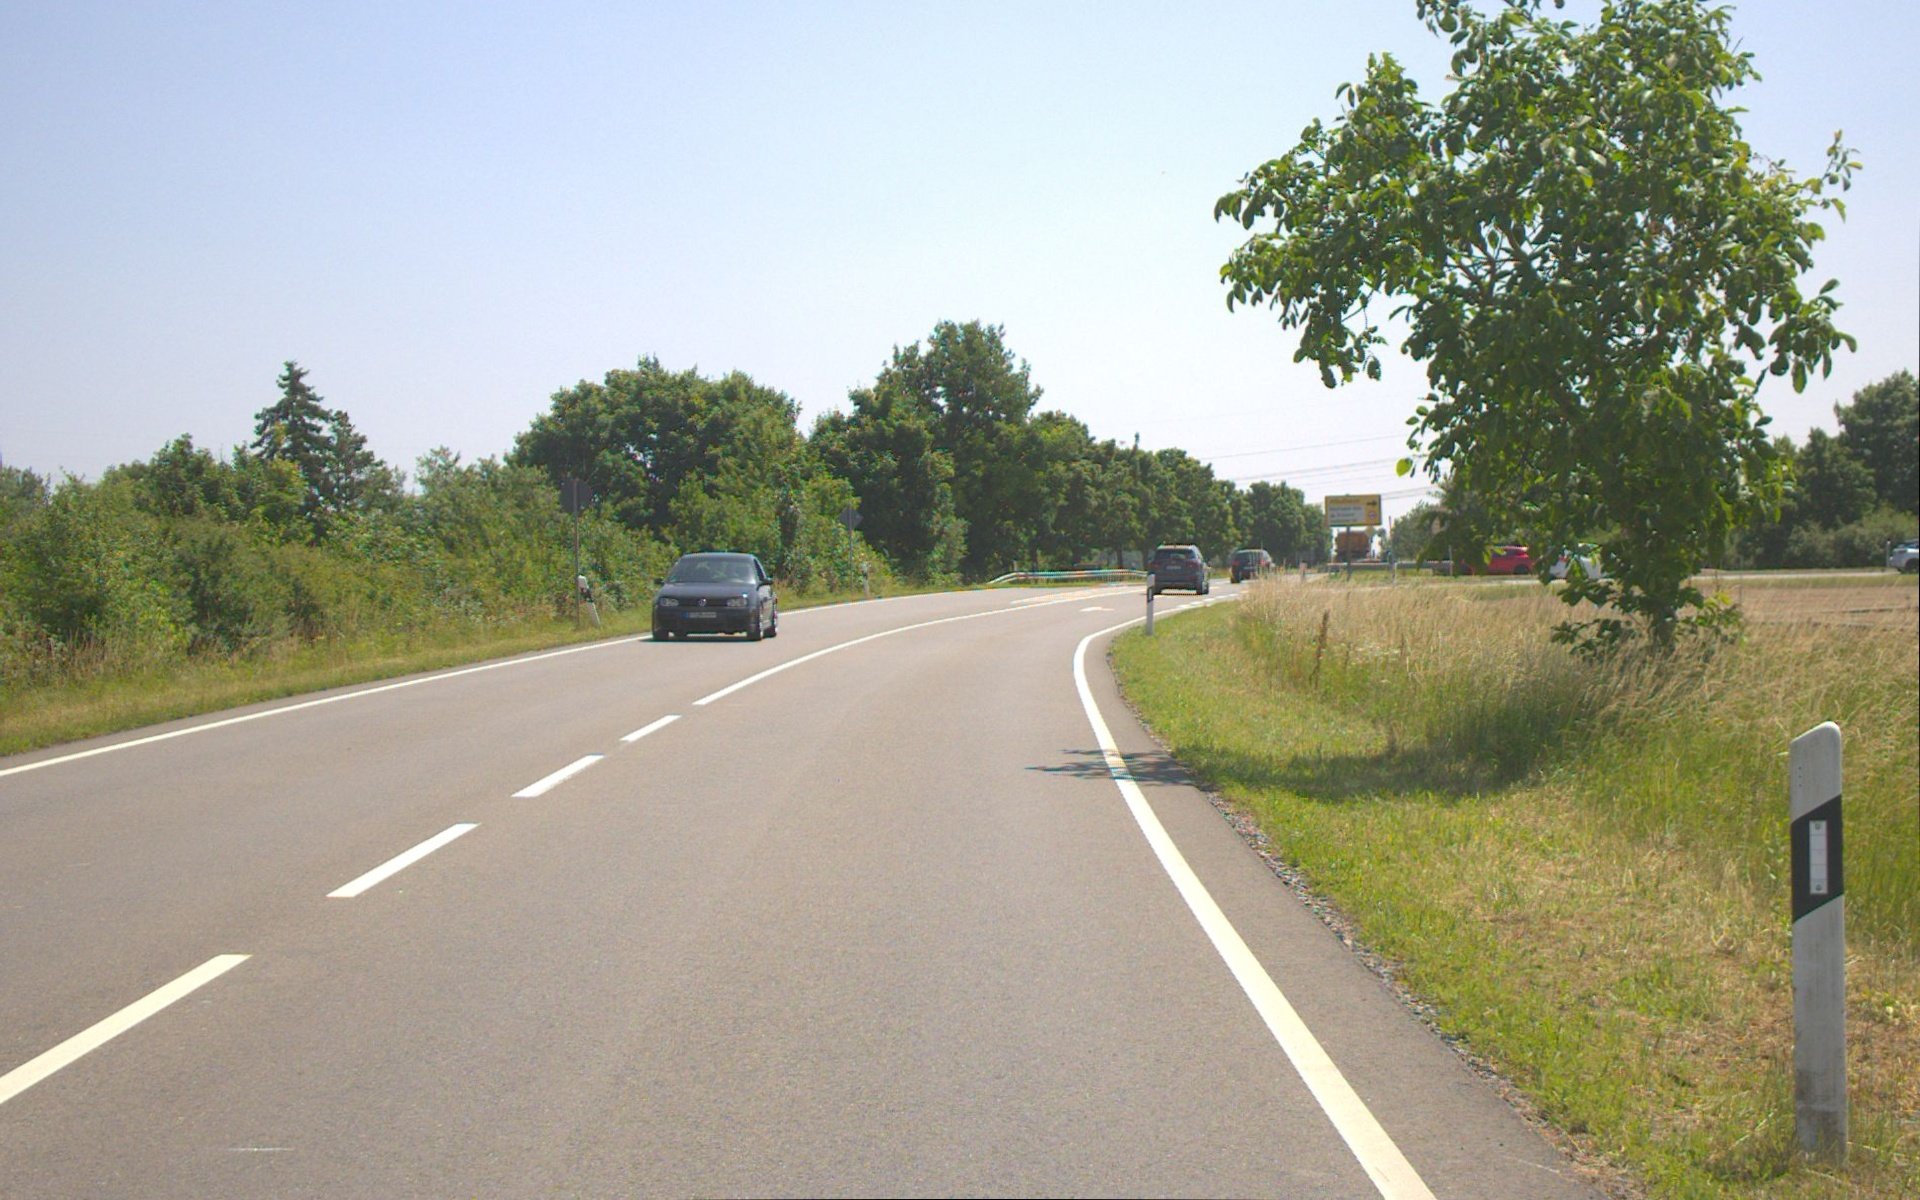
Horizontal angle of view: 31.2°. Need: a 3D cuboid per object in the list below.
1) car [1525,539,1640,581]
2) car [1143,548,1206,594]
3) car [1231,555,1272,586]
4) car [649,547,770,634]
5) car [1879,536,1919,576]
[{"bbox_3d":[25.150,-1.623,138.872,4.128,1.618,2.071,-2,1,-28],"label":"car"},{"bbox_3d":[7.321,-0.983,116.901,1.885,1.513,4.038,1,1,7],"label":"car"},{"bbox_3d":[12.903,-1.314,151.893,1.644,1.336,4.038,1,1,7],"label":"car"},{"bbox_3d":[-4.059,-0.173,56.173,1.692,1.358,3.826,1,1,0],"label":"car"},{"bbox_3d":[39.952,-1.840,141.610,3.989,1.618,1.643,-1,1,13],"label":"car"}]
